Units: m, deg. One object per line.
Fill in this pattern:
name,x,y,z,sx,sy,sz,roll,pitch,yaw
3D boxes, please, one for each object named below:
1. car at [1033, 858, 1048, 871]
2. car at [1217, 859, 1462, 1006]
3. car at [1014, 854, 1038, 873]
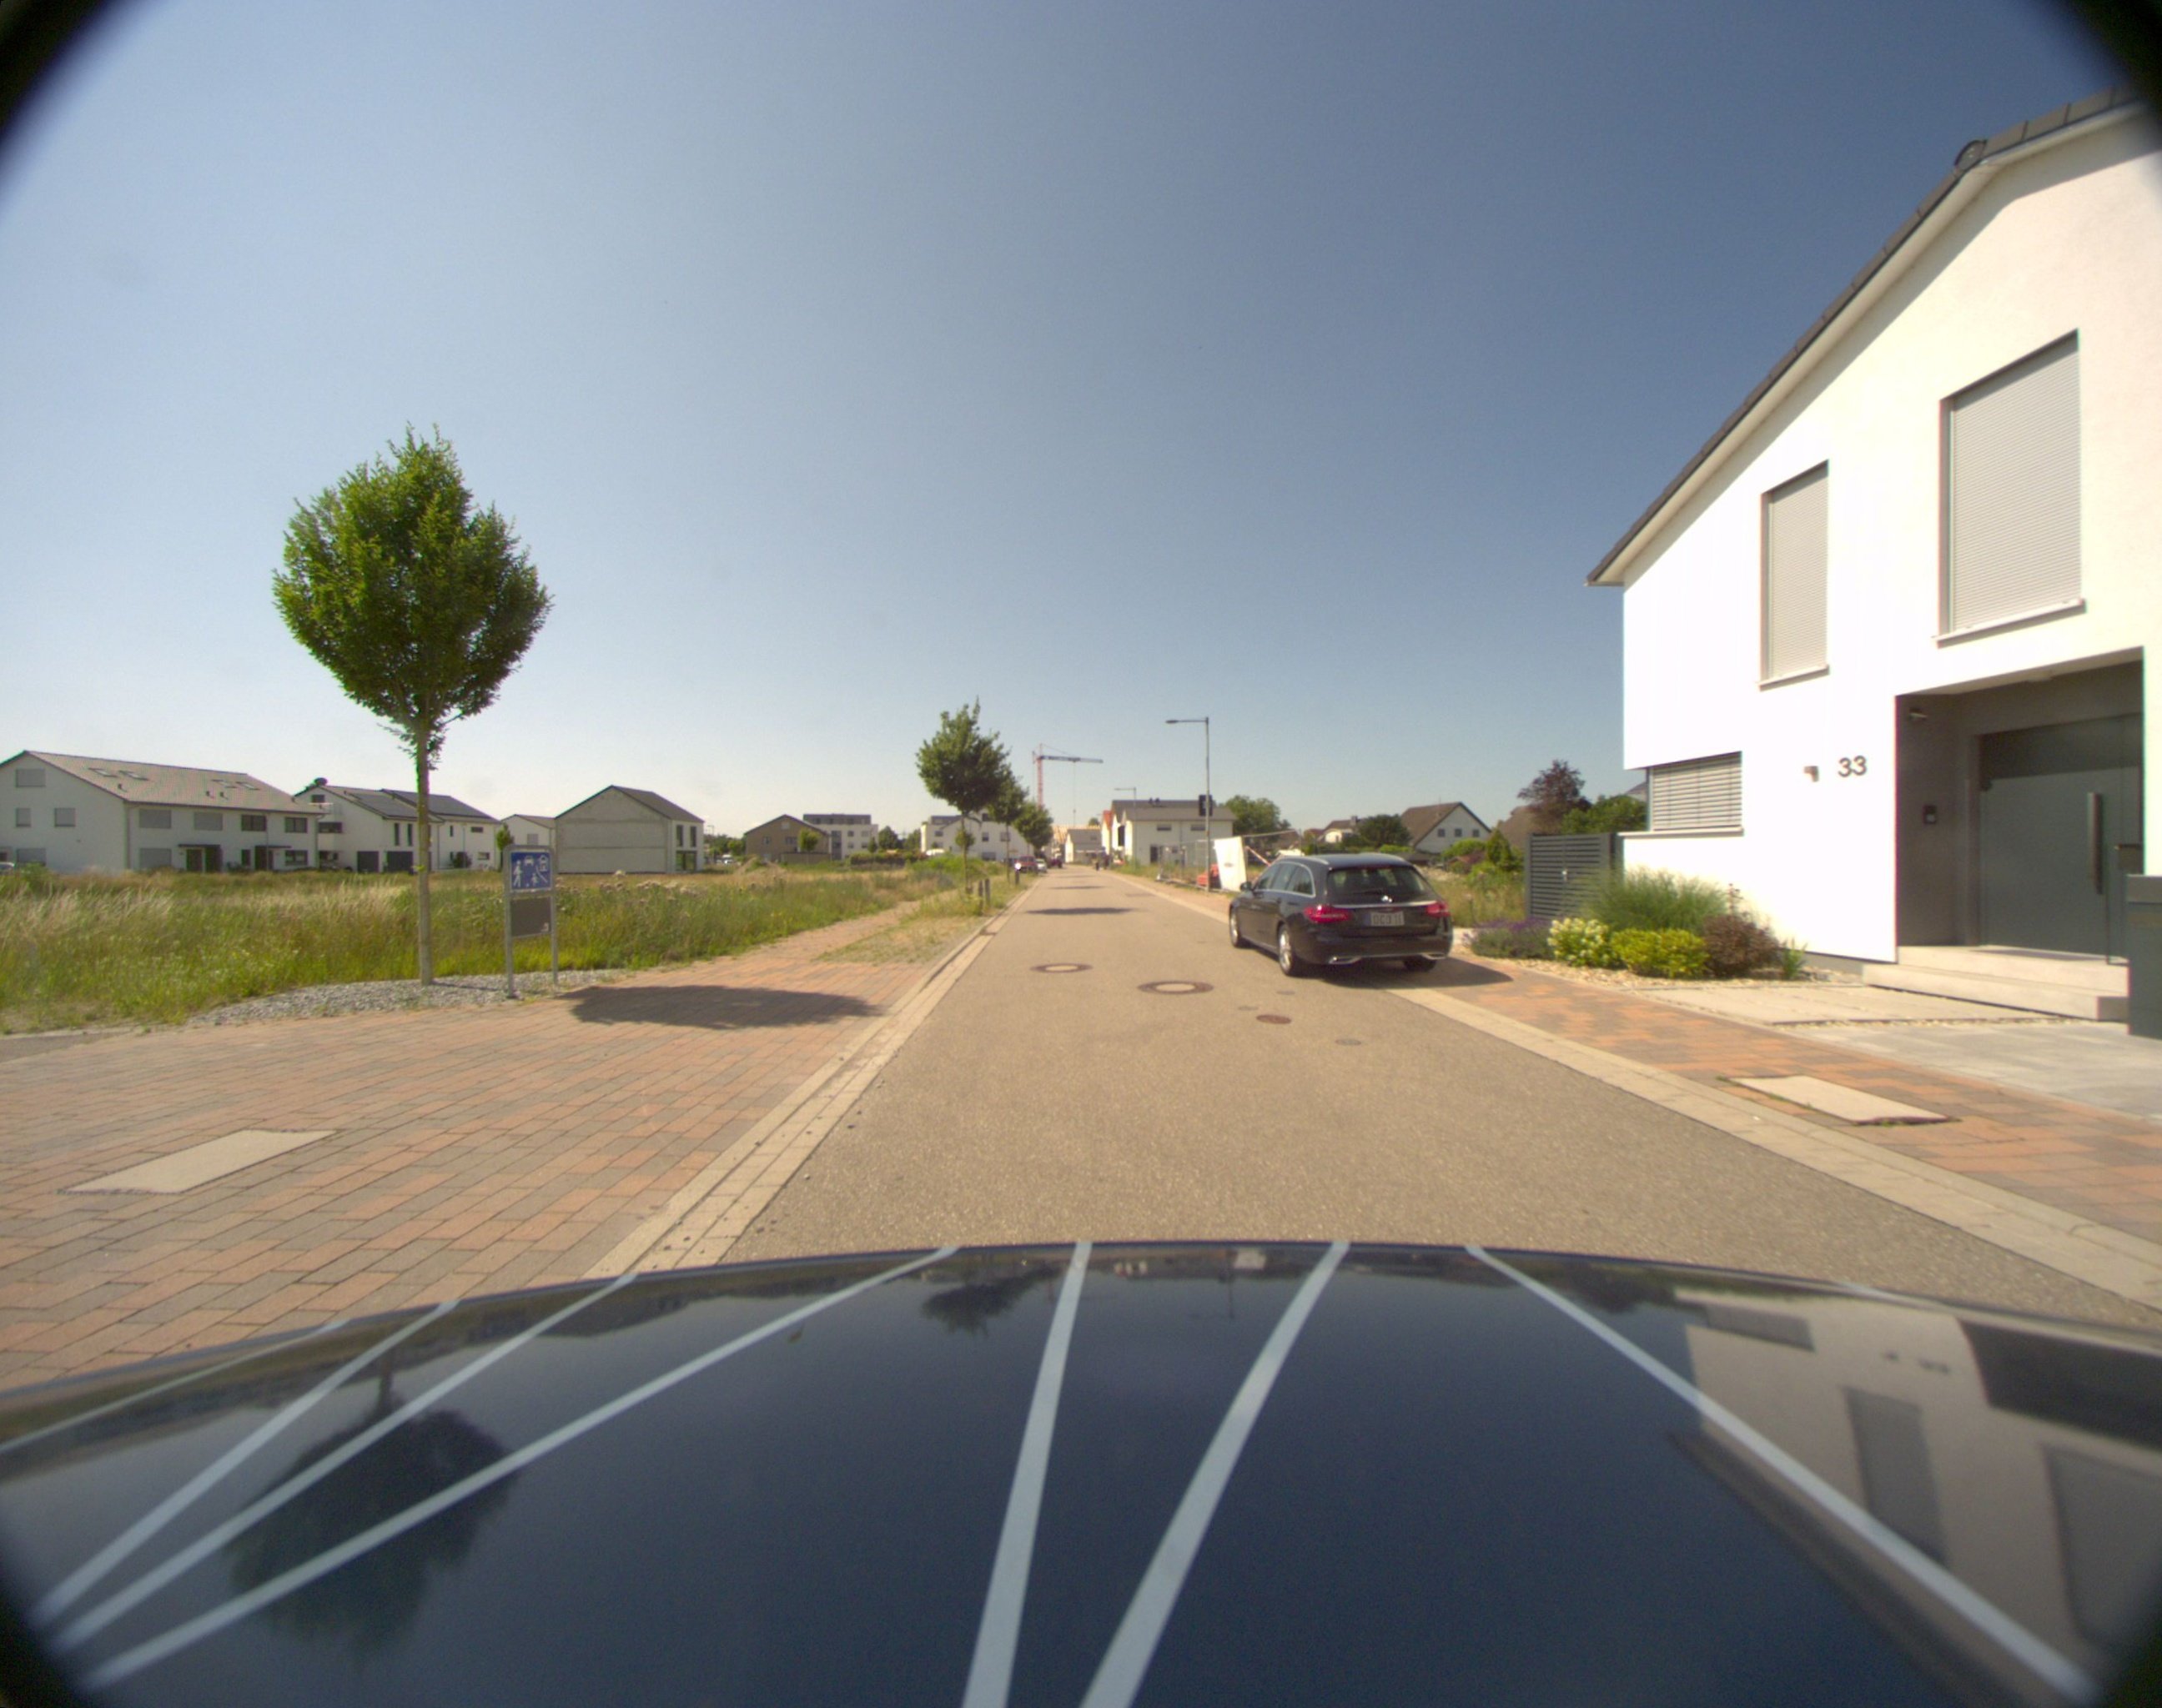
car,-4.327,1.109,81.653,1.493,1.389,3.272,-1,0,-2
car,3.153,0.848,10.298,1.695,1.464,4.444,-2,0,-1
car,-4.438,0.726,61.831,1.769,1.483,3.999,-1,0,-2
